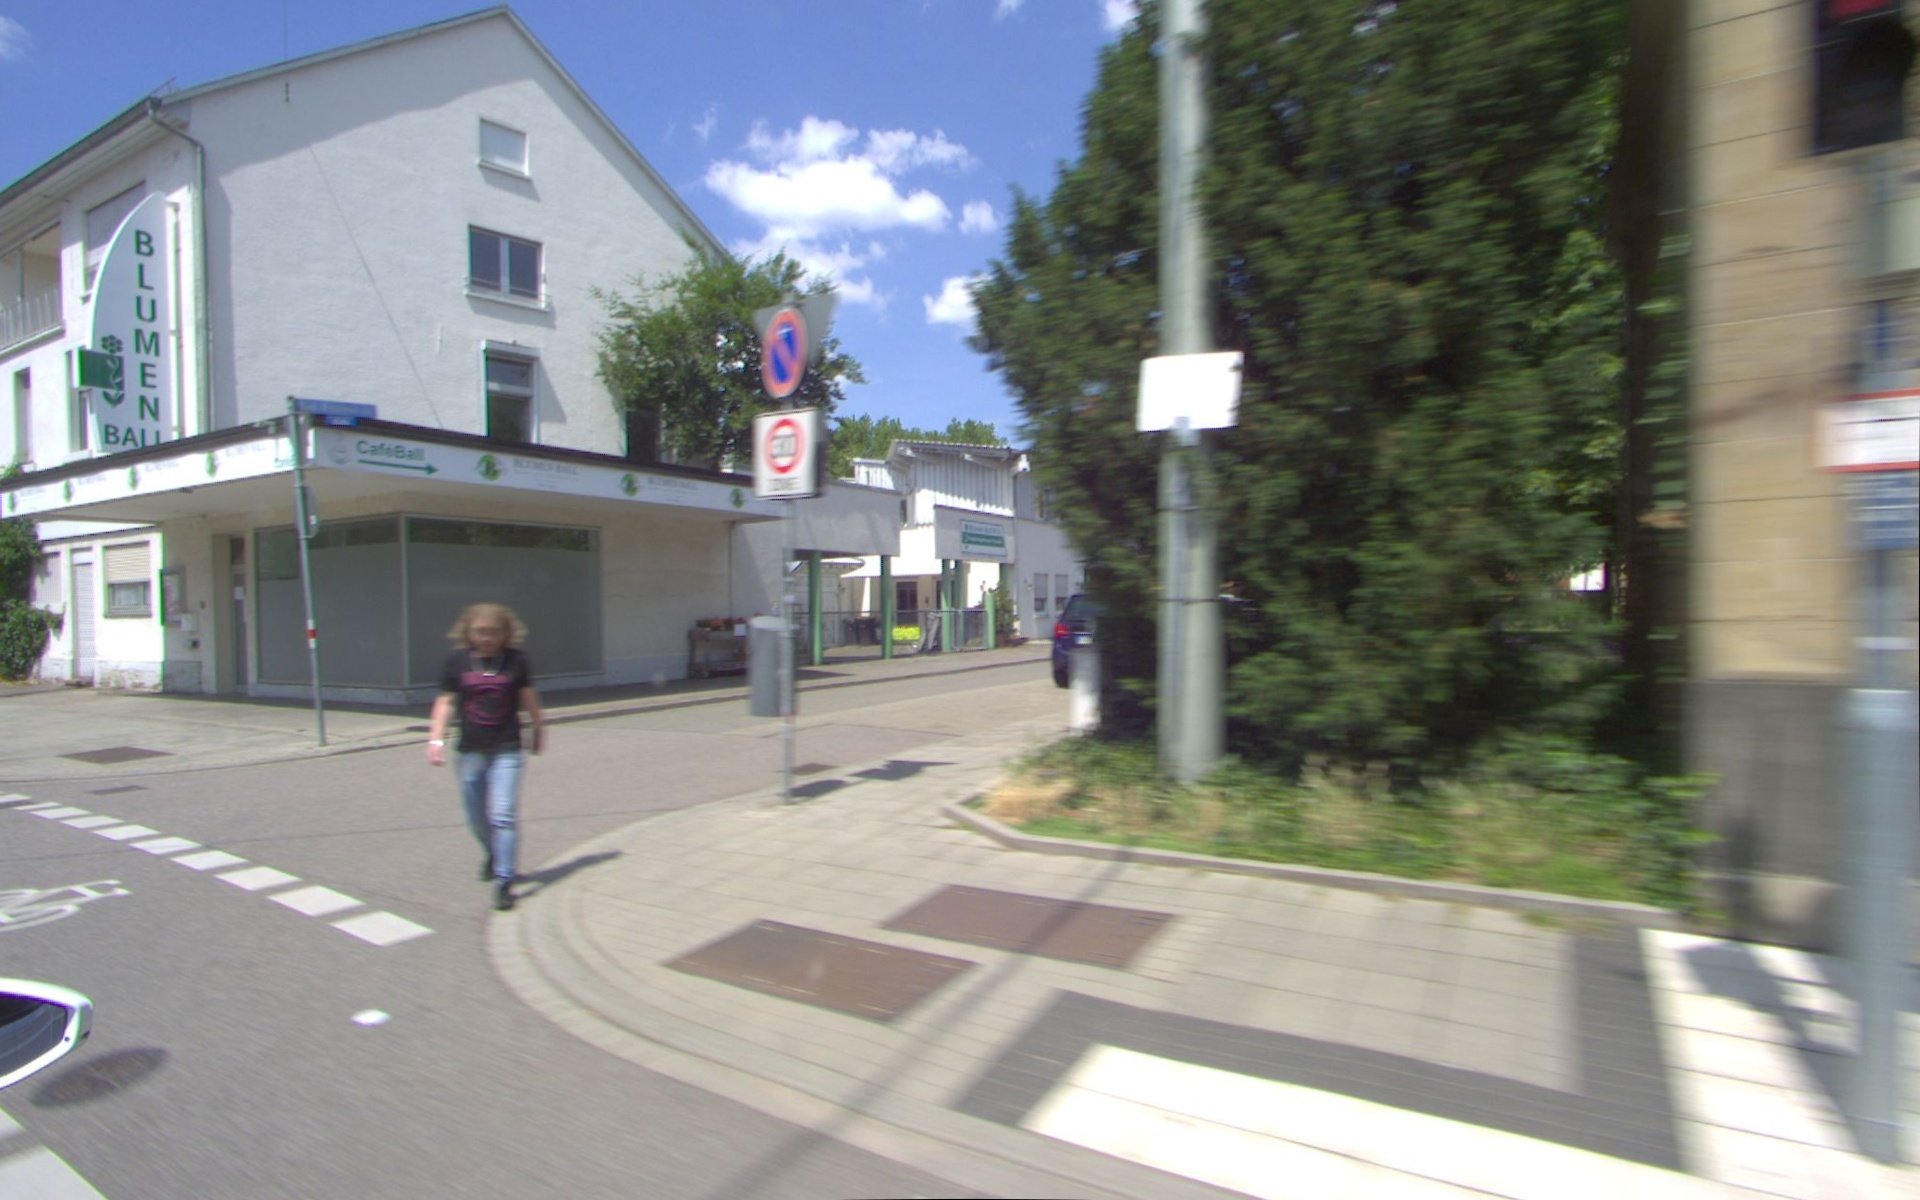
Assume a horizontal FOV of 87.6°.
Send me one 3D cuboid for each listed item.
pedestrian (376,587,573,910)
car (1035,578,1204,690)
[{"bbox_3d":[-2.599,0.740,5.367,0.775,1.577,0.575,-1,2,34],"label":"pedestrian"},{"bbox_3d":[2.887,0.574,17.502,1.650,1.723,3.789,-2,-1,30],"label":"car"}]
